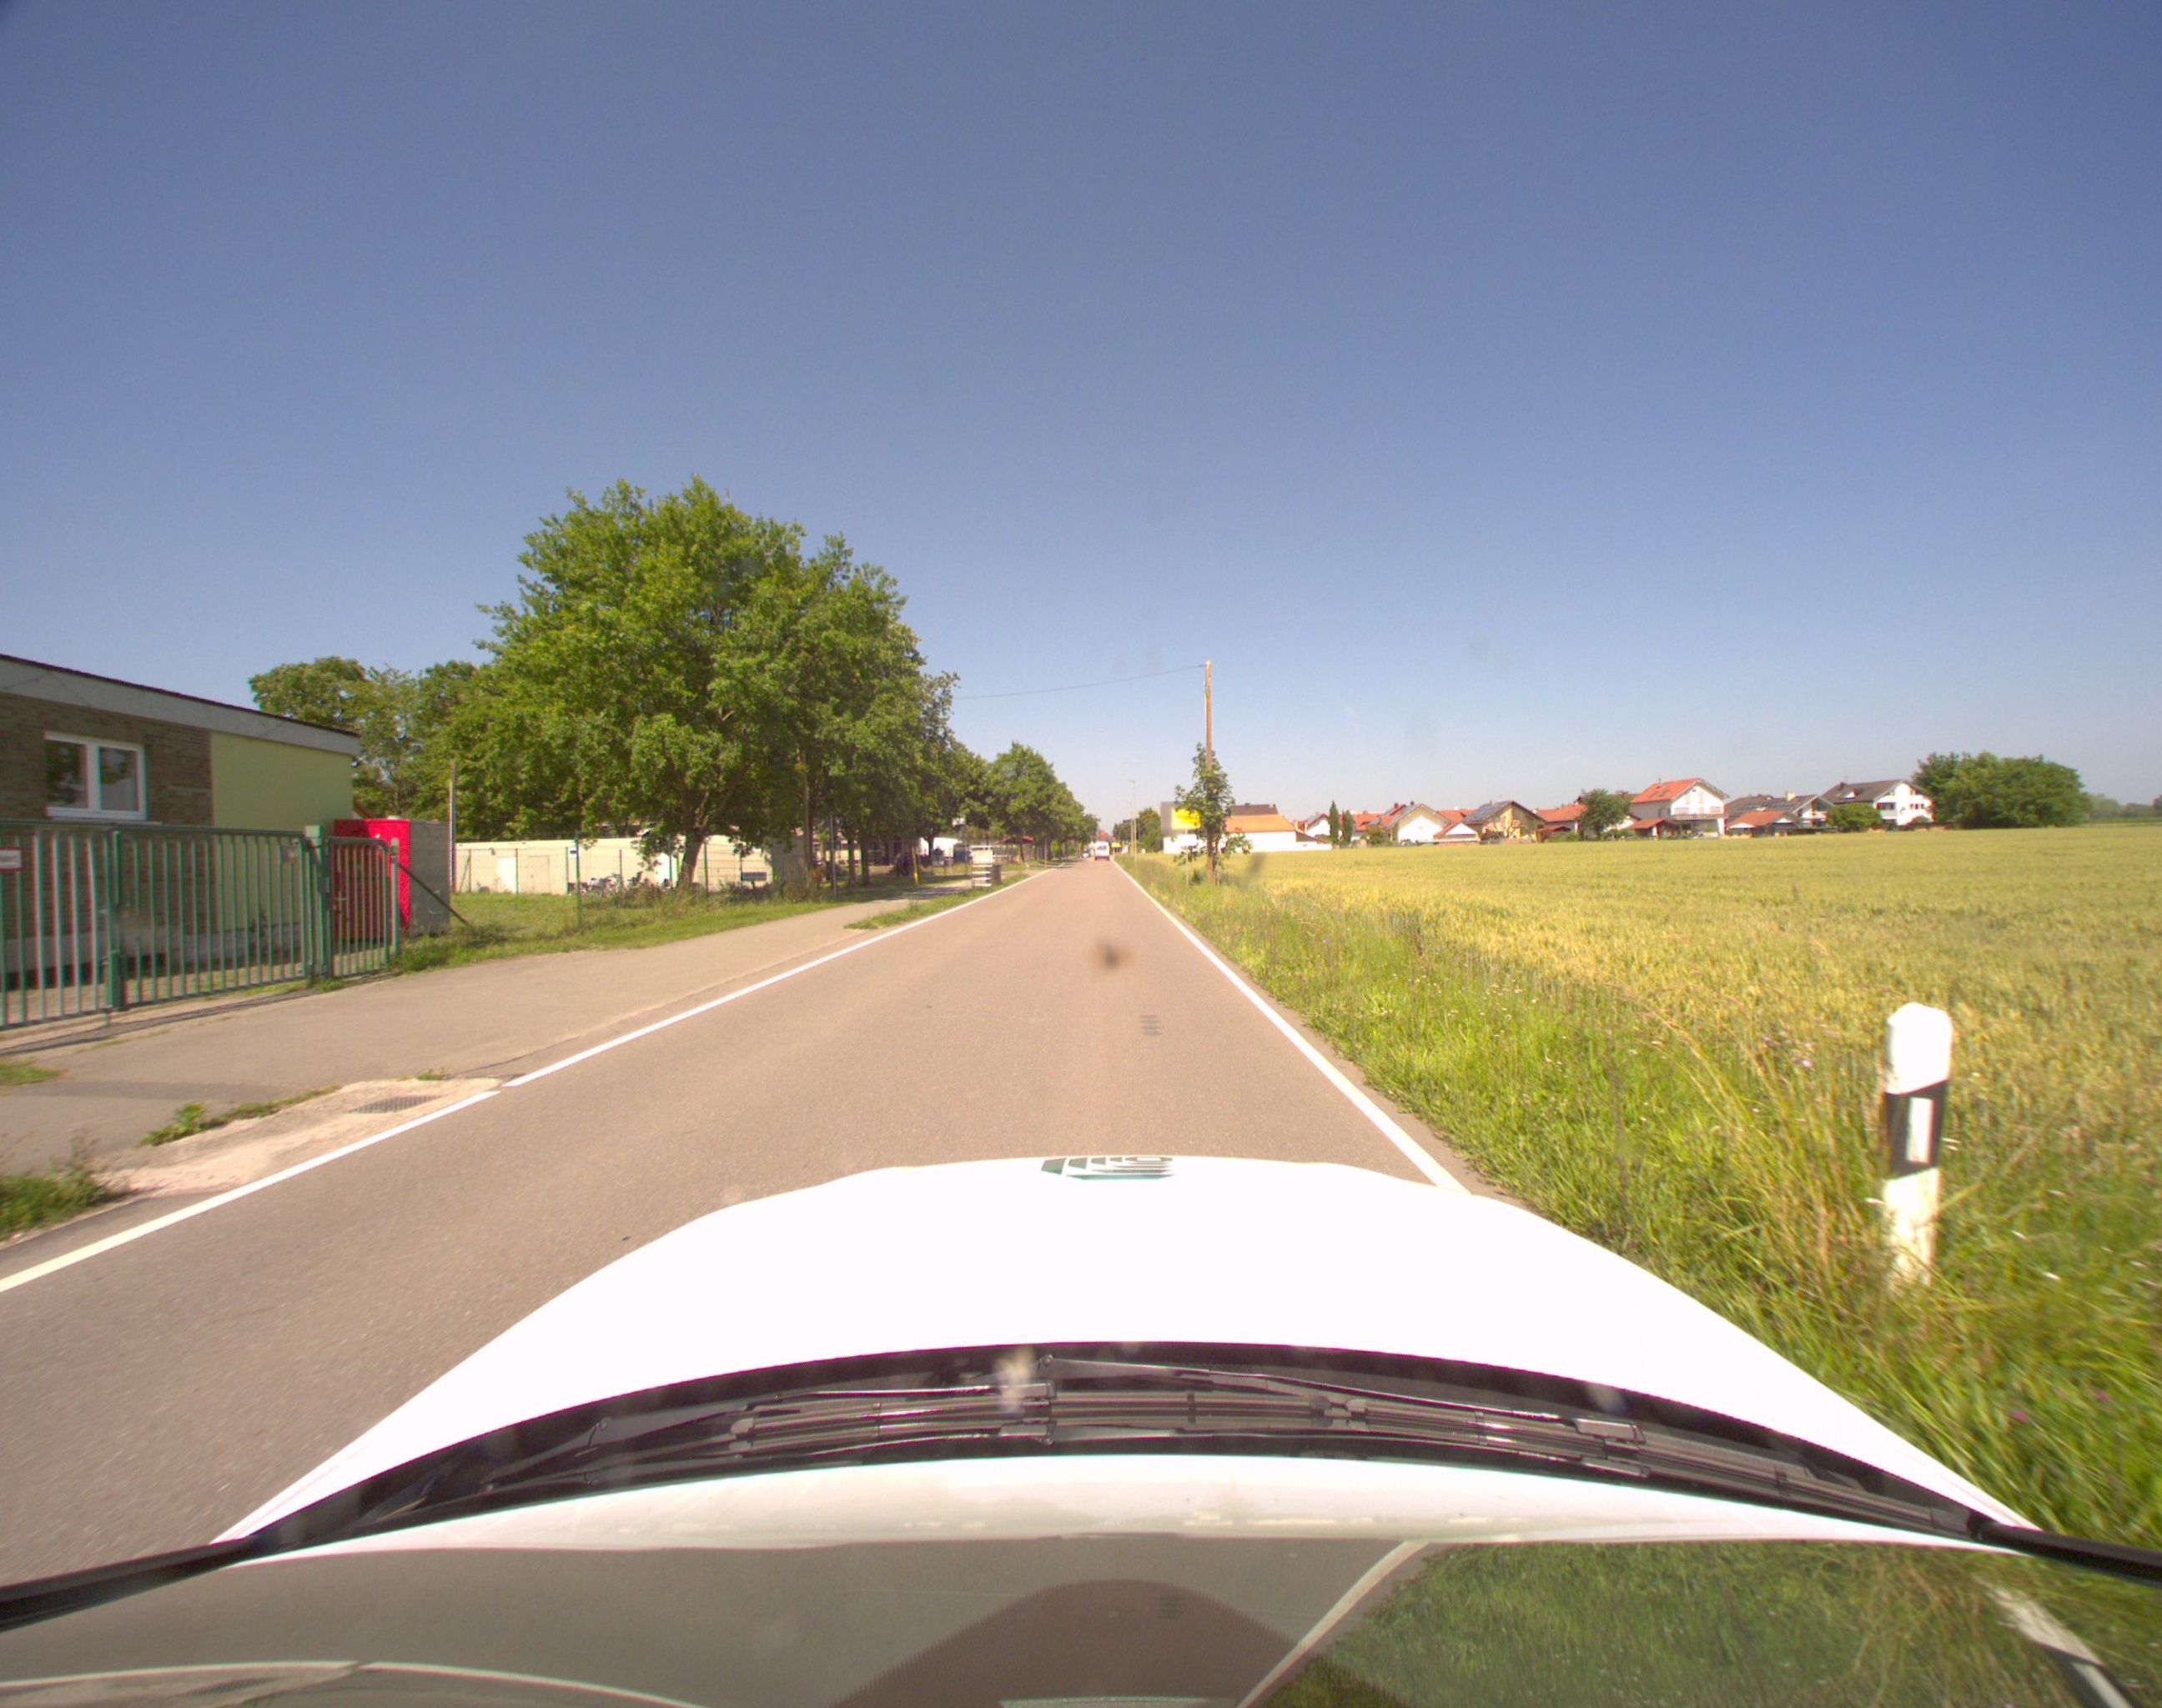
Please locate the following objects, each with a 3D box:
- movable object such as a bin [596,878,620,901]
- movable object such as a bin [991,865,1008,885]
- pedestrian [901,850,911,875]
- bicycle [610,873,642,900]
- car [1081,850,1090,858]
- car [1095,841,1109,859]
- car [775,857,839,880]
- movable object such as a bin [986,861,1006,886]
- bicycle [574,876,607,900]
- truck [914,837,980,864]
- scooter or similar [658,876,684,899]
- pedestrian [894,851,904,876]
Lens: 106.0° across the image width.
[{"bbox_3d":[-21.954,1.640,37.794,0.693,1.013,0.663,-2,0,-3],"label":"movable object such as a bin"},{"bbox_3d":[-3.710,0.940,37.115,0.559,0.877,0.615,-2,0,9],"label":"movable object such as a bin"},{"bbox_3d":[-12.499,0.633,58.157,0.603,1.751,0.585,-2,0,-8],"label":"pedestrian"},{"bbox_3d":[-21.849,1.542,39.119,1.236,1.213,0.423,-2,0,-2],"label":"bicycle"},{"bbox_3d":[0.991,-0.066,162.420,1.641,1.423,4.082,-4,0,2],"label":"car"},{"bbox_3d":[2.885,-0.530,111.710,1.730,2.432,4.378,-2,0,3],"label":"car"},{"bbox_3d":[-18.681,0.970,55.658,3.795,1.399,1.755,-2,0,-6],"label":"car"},{"bbox_3d":[-3.778,0.865,36.356,0.694,1.024,0.750,-2,0,9],"label":"movable object such as a bin"},{"bbox_3d":[-23.474,1.641,38.963,1.236,1.082,0.506,-2,0,-1],"label":"bicycle"},{"bbox_3d":[-12.696,-0.337,77.495,5.958,2.483,1.978,-1,0,-36],"label":"truck"},{"bbox_3d":[-18.956,1.536,37.672,0.892,0.997,0.533,-2,0,-5],"label":"scooter or similar"},{"bbox_3d":[-12.852,0.646,57.475,0.603,1.751,0.585,-2,0,-8],"label":"pedestrian"}]
